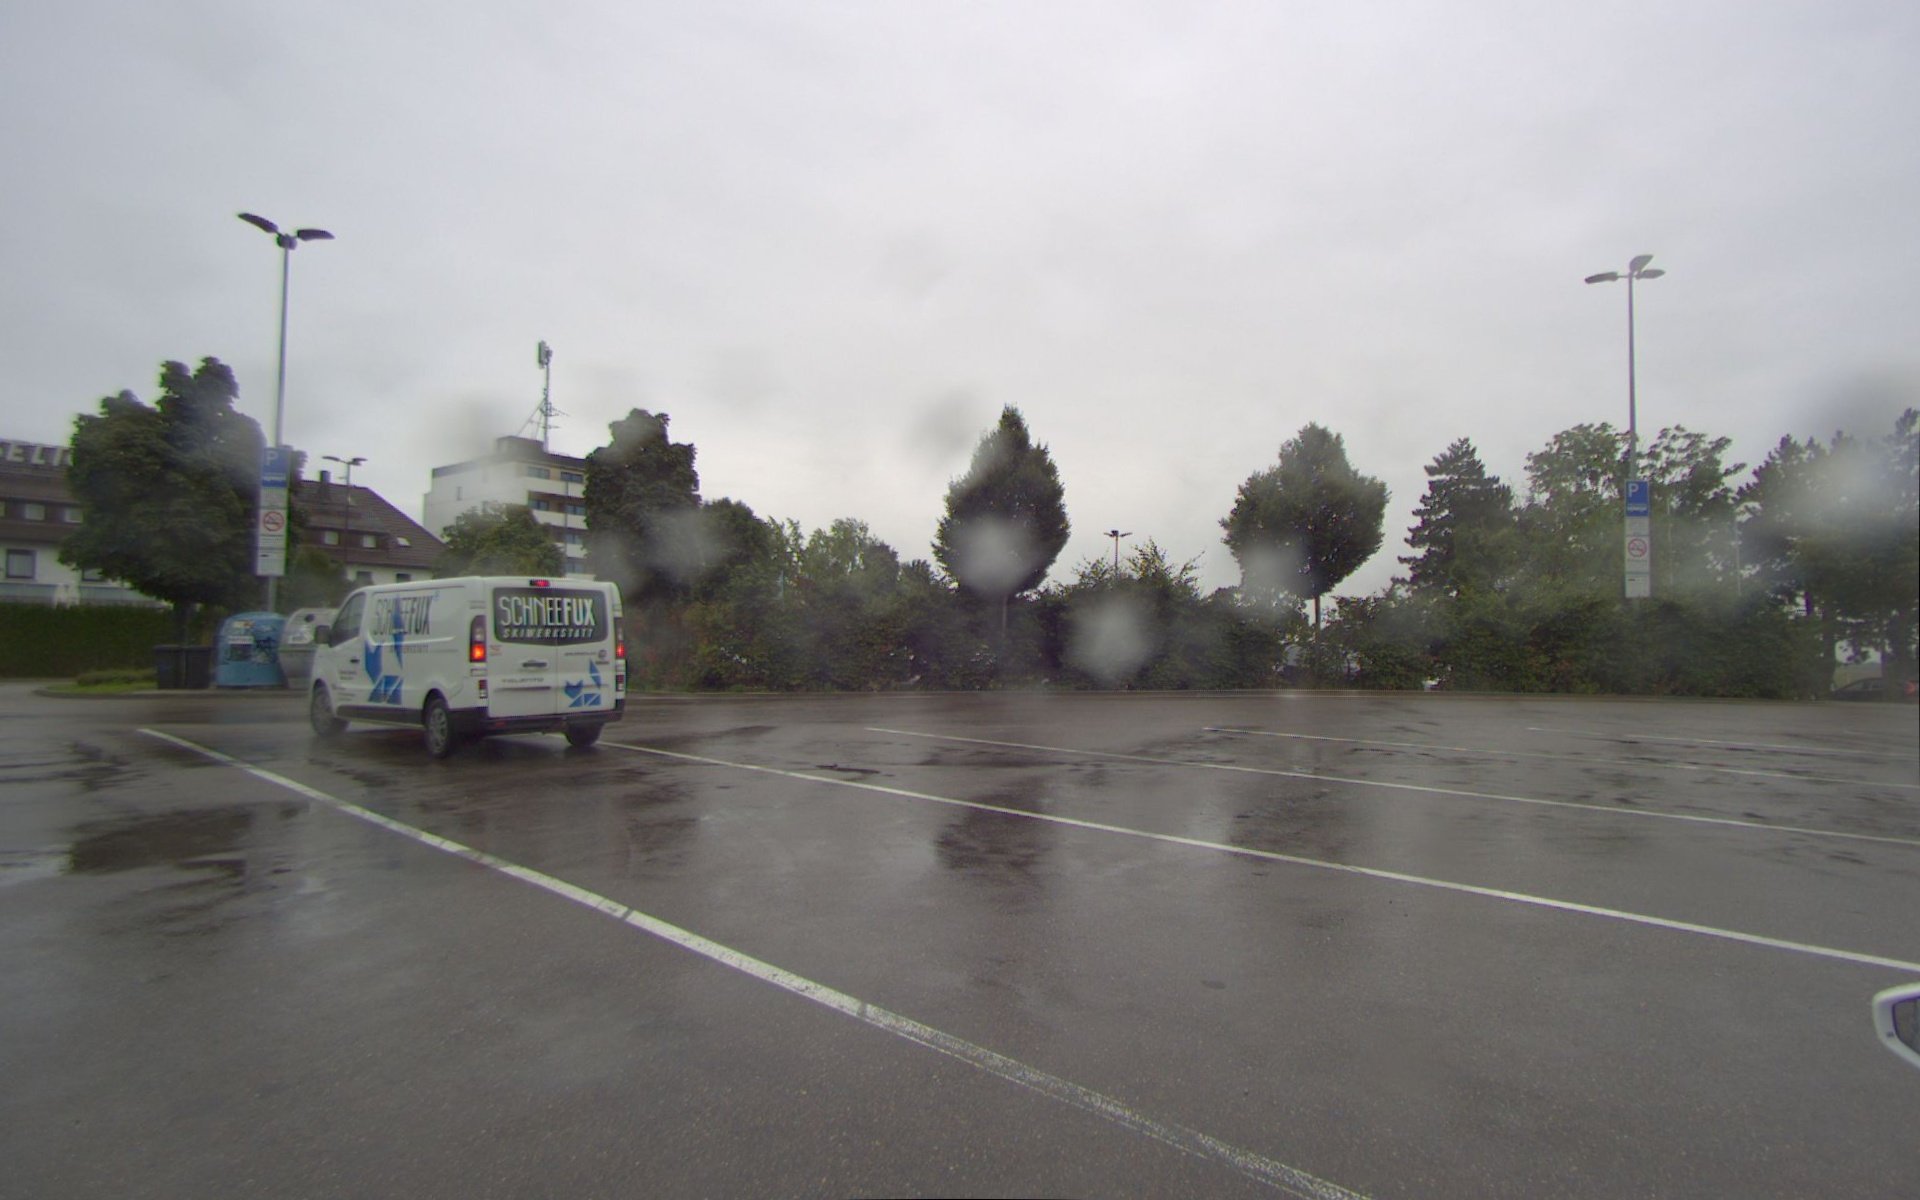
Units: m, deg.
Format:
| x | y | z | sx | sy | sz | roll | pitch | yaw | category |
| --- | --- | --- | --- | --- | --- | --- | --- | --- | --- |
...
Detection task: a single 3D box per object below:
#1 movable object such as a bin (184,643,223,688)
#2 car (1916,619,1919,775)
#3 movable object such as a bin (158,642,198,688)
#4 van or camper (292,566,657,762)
| x | y | z | sx | sy | sz | roll | pitch | yaw | category |
| --- | --- | --- | --- | --- | --- | --- | --- | --- | --- |
| -15.877 | 1.373 | 21.080 | 0.479 | 0.929 | 0.450 | 0 | -1 | 19 | movable object such as a bin |
| 11.610 | 0.969 | 9.255 | 1.539 | 1.576 | 4.004 | 2 | -2 | -44 | car |
| -16.422 | 1.357 | 21.101 | 0.479 | 0.951 | 0.450 | 0 | -1 | 19 | movable object such as a bin |
| -6.237 | 0.725 | 12.612 | 5.119 | 1.970 | 2.185 | -1 | -3 | 40 | van or camper |
